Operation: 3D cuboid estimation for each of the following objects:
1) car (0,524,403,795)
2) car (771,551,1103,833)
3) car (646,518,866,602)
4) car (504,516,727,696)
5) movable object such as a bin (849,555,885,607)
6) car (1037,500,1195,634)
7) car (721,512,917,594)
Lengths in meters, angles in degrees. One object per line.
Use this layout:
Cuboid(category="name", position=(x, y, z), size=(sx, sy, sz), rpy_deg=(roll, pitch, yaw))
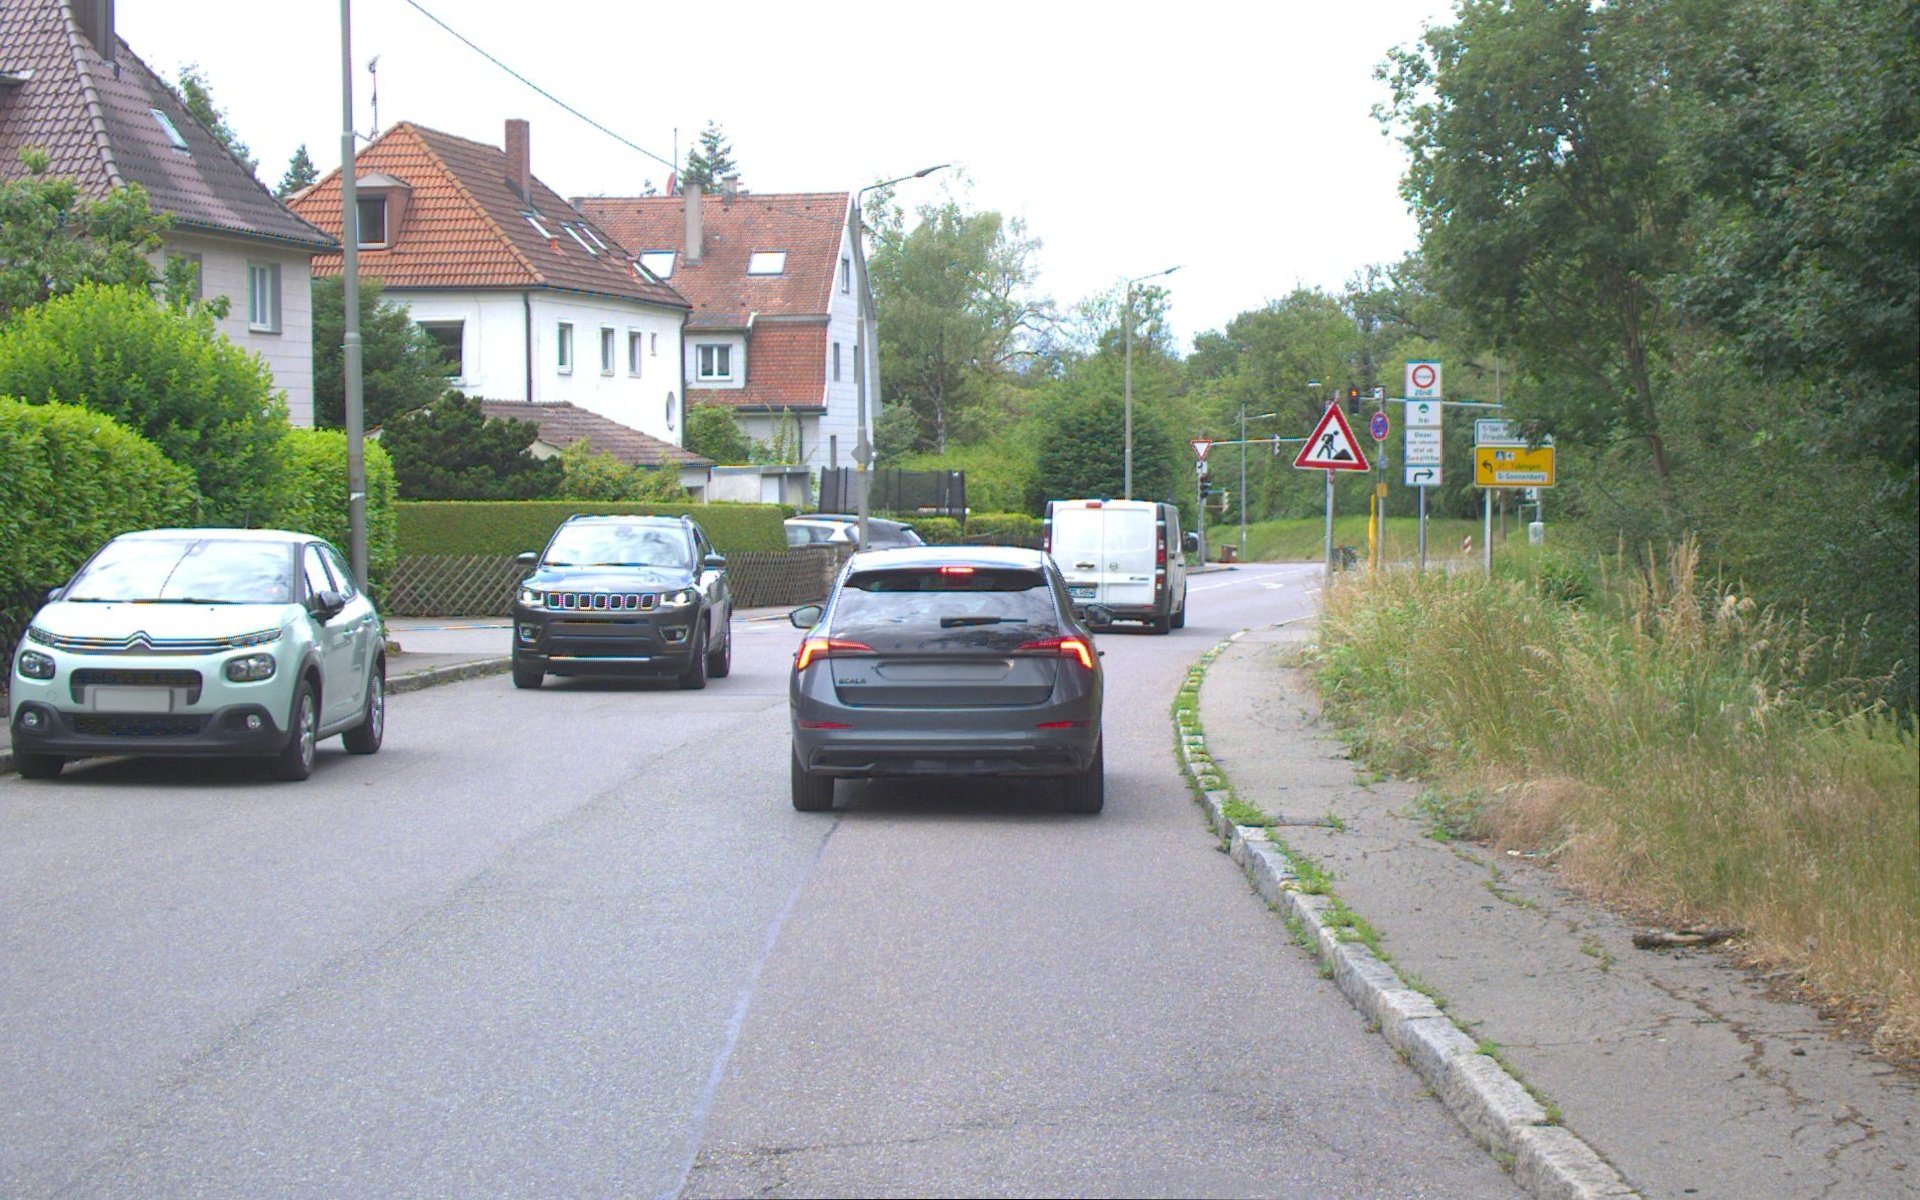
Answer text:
Cuboid(category="car", position=(-4.691, 0.299, 21.268), size=(1.783, 1.495, 4.015), rpy_deg=(1, 1, 1))
Cuboid(category="car", position=(-0.174, 0.452, 20.165), size=(1.728, 1.434, 4.324), rpy_deg=(0, 1, -1))
Cuboid(category="car", position=(-3.993, -0.790, 67.543), size=(3.988, 1.612, 1.999), rpy_deg=(0, 1, 8))
Cuboid(category="car", position=(-3.295, 0.004, 33.581), size=(1.833, 1.591, 4.324), rpy_deg=(0, 2, -1))
Cuboid(category="movable object such as a bin", position=(-1.726, -0.350, 63.877), size=(0.599, 0.947, 0.579), rpy_deg=(0, 1, 6))
Cuboid(category="car", position=(2.407, -0.520, 51.806), size=(2.072, 1.915, 4.921), rpy_deg=(1, 1, 6))
Cuboid(category="car", position=(-2.941, -1.005, 72.481), size=(3.987, 1.700, 1.916), rpy_deg=(0, 1, 2))
